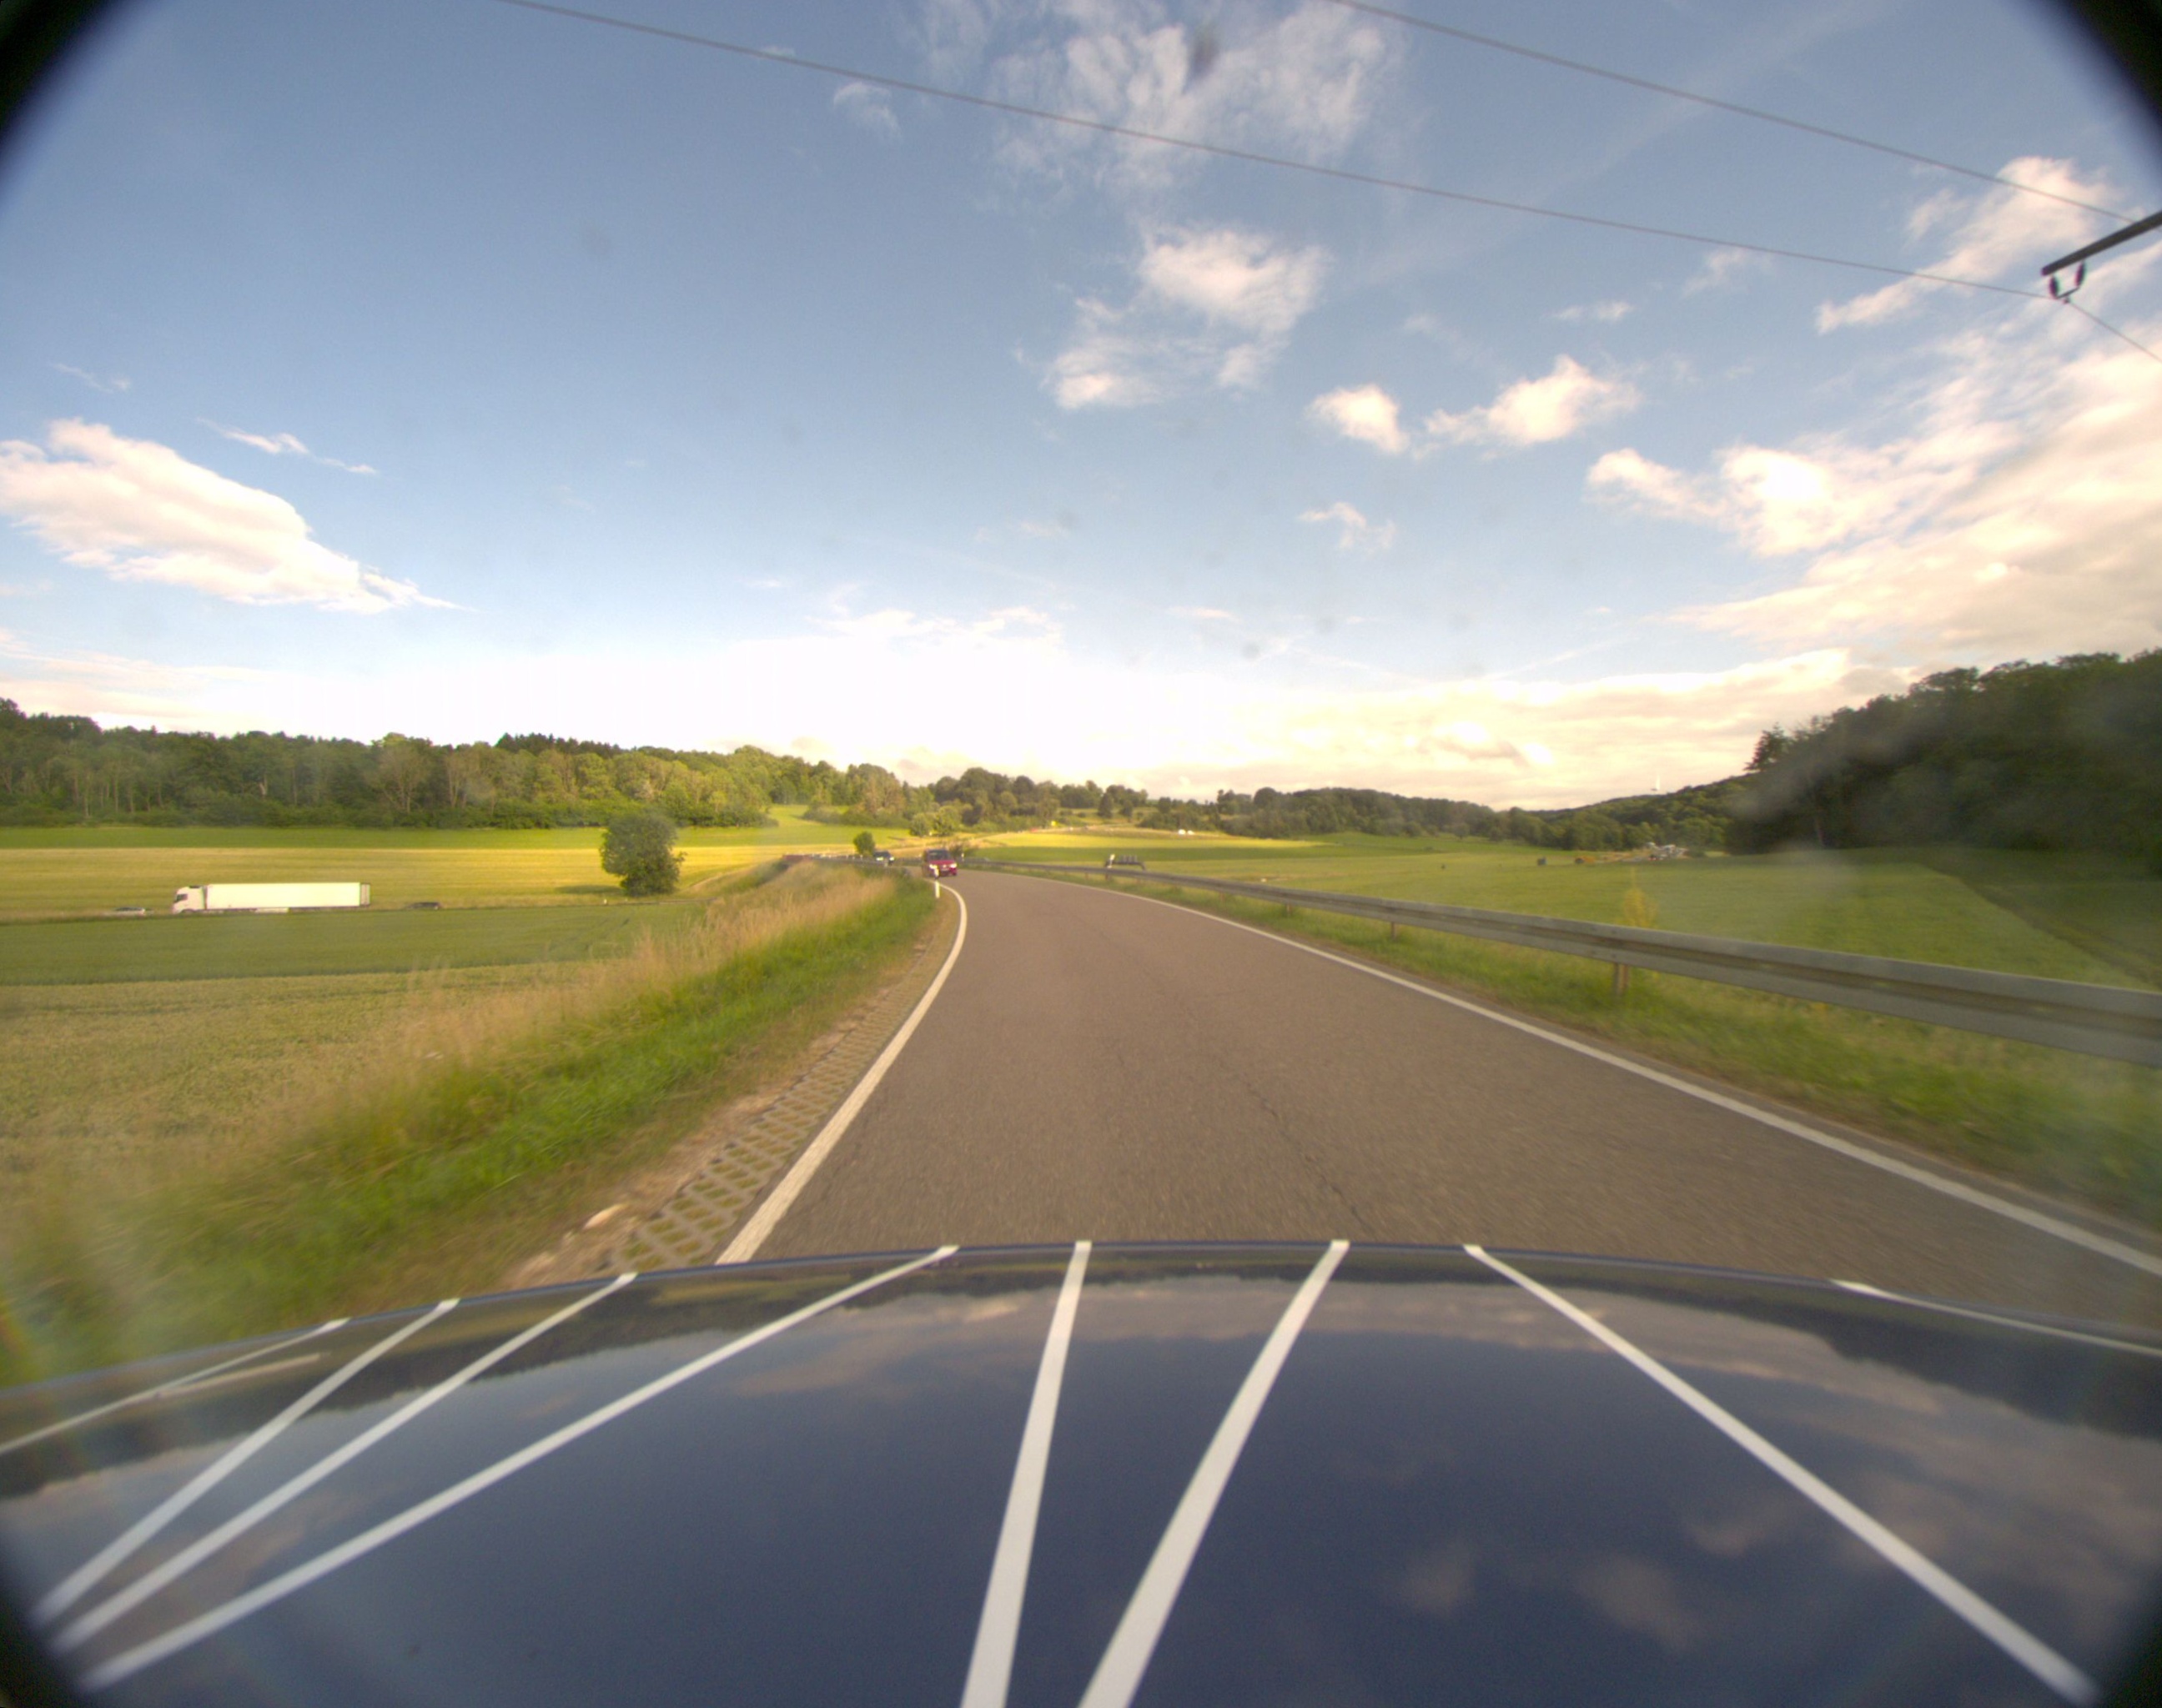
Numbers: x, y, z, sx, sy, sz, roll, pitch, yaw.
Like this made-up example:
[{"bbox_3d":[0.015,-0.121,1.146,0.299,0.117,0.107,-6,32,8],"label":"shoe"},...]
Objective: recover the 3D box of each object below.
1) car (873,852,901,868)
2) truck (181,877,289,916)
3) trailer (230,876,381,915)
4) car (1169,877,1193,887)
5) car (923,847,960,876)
[{"bbox_3d":[-19.297,0.595,75.419,1.825,1.601,3.991,0,0,-28],"label":"car"},{"bbox_3d":[-100.994,5.010,90.862,8.065,4.441,3.025,0,-2,-23],"label":"truck"},{"bbox_3d":[-94.975,5.033,93.387,12.742,4.441,3.027,0,-2,-23],"label":"trailer"},{"bbox_3d":[18.149,5.023,138.045,4.006,1.641,1.824,0,2,-30],"label":"car"},{"bbox_3d":[-9.106,0.483,49.396,1.823,1.645,3.994,-5,1,-17],"label":"car"}]
